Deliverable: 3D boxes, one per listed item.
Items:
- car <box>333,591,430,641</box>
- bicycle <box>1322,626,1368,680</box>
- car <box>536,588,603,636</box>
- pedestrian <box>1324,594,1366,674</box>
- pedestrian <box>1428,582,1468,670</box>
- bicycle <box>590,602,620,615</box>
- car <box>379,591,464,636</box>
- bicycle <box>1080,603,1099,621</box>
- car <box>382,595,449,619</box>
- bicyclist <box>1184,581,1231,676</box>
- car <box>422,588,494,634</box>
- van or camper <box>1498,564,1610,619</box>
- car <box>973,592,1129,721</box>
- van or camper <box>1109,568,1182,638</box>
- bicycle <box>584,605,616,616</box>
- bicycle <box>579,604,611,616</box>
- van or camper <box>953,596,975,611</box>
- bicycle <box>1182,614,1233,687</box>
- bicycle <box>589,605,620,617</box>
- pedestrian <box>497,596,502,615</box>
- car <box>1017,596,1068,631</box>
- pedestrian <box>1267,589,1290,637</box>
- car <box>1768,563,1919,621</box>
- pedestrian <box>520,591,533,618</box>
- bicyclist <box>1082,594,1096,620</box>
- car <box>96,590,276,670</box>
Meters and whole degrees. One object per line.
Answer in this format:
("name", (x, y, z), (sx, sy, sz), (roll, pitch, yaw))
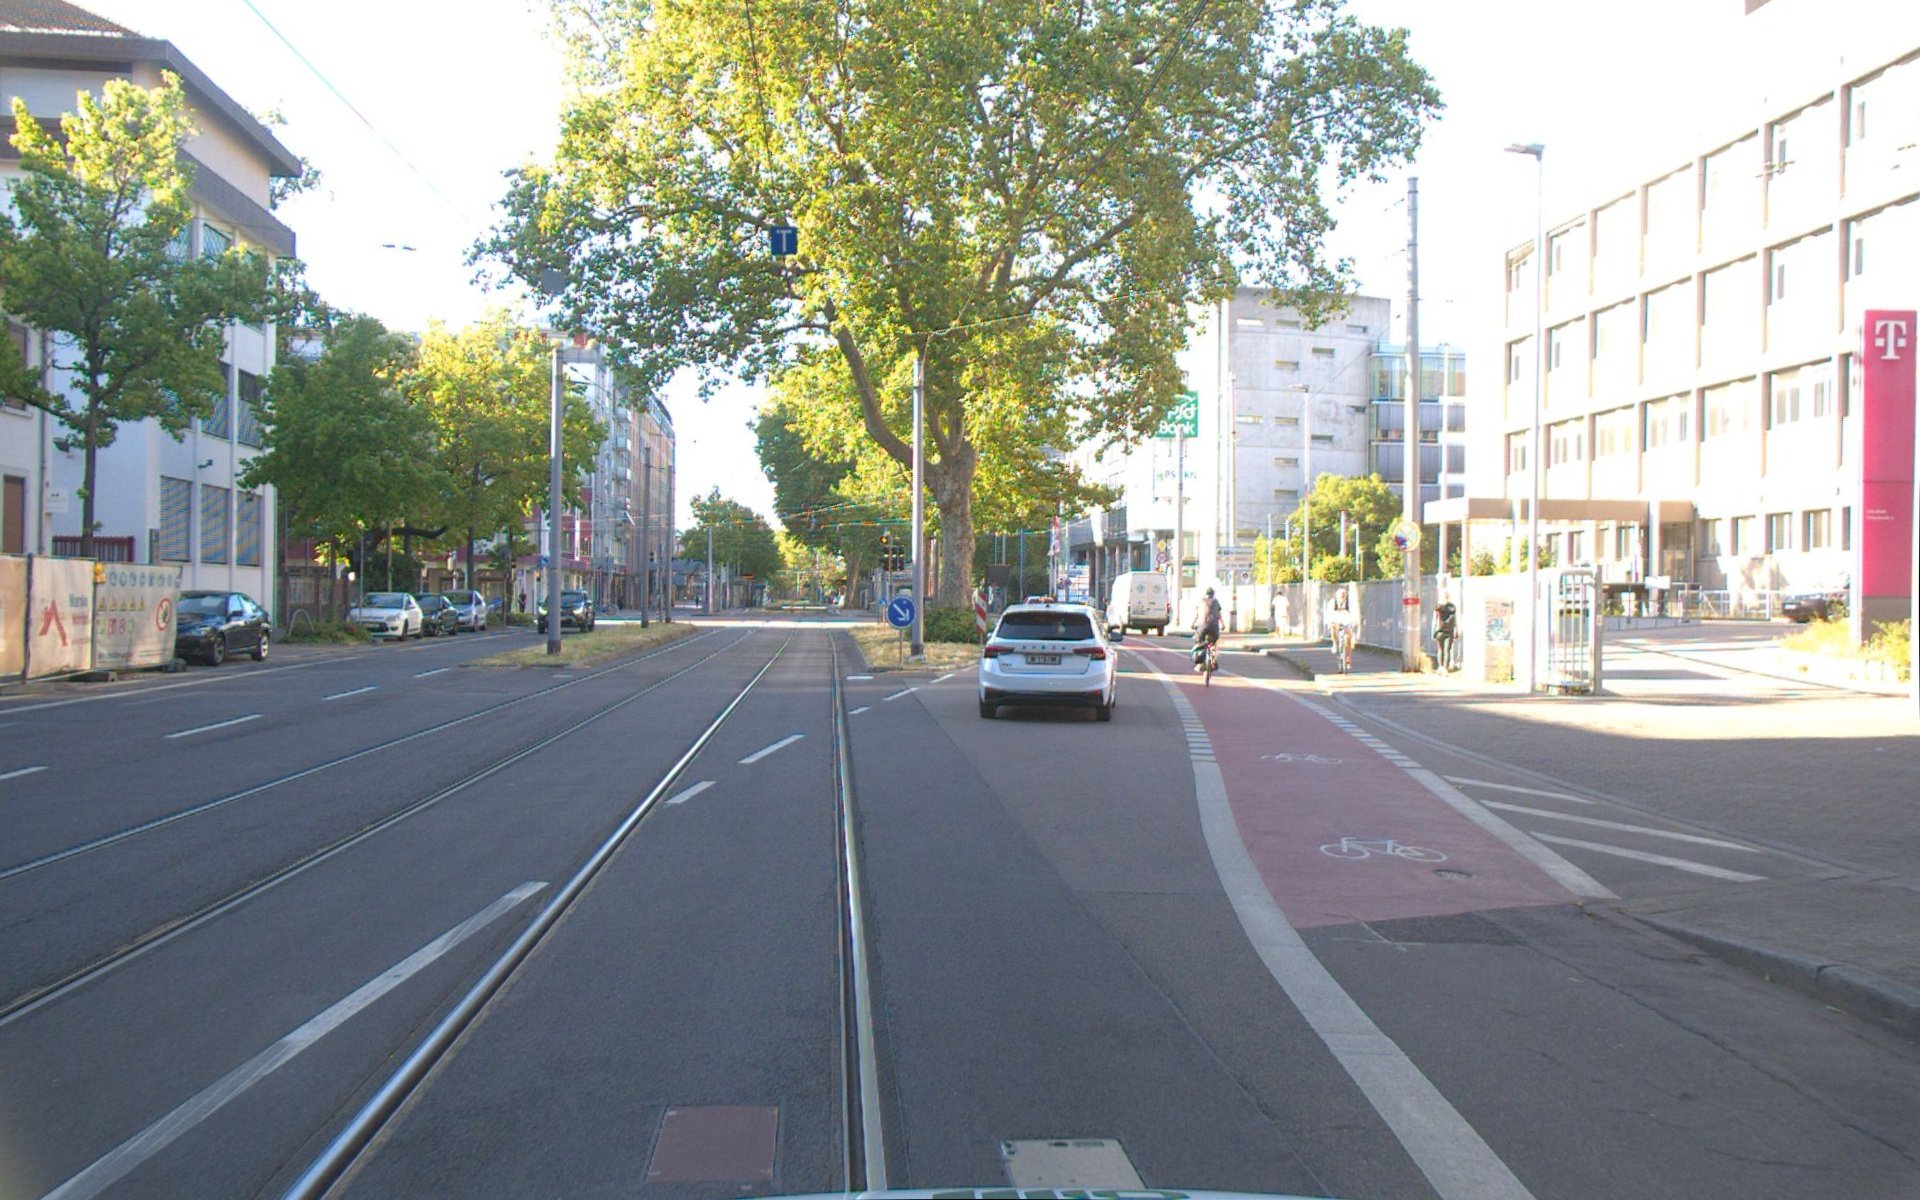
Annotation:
("car", (-17.936, 0.473, 51.469), (1.956, 1.496, 4.399), (0, 0, -7))
("bicycle", (8.078, 1.102, 34.785), (0.660, 1.050, 1.902), (-2, 0, 5))
("car", (-14.654, 0.438, 62.261), (1.956, 1.719, 4.303), (0, 0, -7))
("pedestrian", (8.116, 0.702, 34.905), (0.655, 1.647, 1.103), (-2, 0, 4))
("pedestrian", (9.682, 0.511, 32.835), (0.681, 1.713, 0.931), (0, 0, 11))
("bicycle", (-25.605, 0.624, 119.333), (2.129, 0.967, 0.491), (0, 0, -9))
("car", (-18.602, 0.438, 57.321), (1.956, 1.502, 4.642), (0, 0, -7))
("bicycle", (8.461, 0.777, 107.989), (0.777, 1.182, 2.496), (0, 0, -7))
("car", (-34.269, 0.428, 104.249), (3.923, 1.489, 1.793), (0, 0, -17))
("bicyclist", (4.546, 0.517, 30.394), (0.727, 1.698, 0.745), (2, 0, 3))
("car", (-19.423, 0.402, 64.177), (1.956, 1.719, 4.171), (0, 0, -7))
("van or camper", (21.894, -0.314, 61.203), (1.942, 1.942, 4.994), (0, 0, -6))
("car", (1.309, 0.686, 22.117), (1.763, 1.527, 3.984), (1, 0, 7))
("van or camper", (7.935, 0.107, 71.444), (2.223, 2.781, 6.345), (3, 0, -1))
("bicycle", (-25.527, 0.755, 117.332), (2.129, 0.801, 0.491), (0, 0, -9))
("bicycle", (-25.712, 0.699, 116.552), (2.129, 0.801, 0.640), (0, 0, -8))
("van or camper", (0.495, 0.439, 198.826), (2.105, 1.781, 4.424), (0, 0, -8))
("bicycle", (4.538, 0.901, 30.454), (0.728, 1.245, 2.157), (2, 0, 4))
("bicycle", (-25.507, 0.784, 118.695), (2.129, 0.838, 0.527), (0, 0, -9))
("pedestrian", (-29.640, 0.360, 106.485), (0.298, 1.235, 0.318), (0, 0, -10))
("car", (3.650, 0.565, 73.439), (1.803, 1.515, 3.713), (0, 0, -5))
("pedestrian", (11.785, 0.481, 61.247), (0.769, 1.779, 0.772), (0, 0, 5))
("car", (27.683, -0.230, 51.472), (4.169, 1.748, 1.991), (0, 0, -6))
("pedestrian", (-27.563, 0.260, 105.185), (0.695, 1.691, 1.031), (0, 0, -9))
("bicyclist", (8.452, 0.448, 108.152), (0.770, 1.663, 0.638), (0, 0, -8))
("car", (-15.960, 0.574, 34.386), (1.955, 1.540, 4.719), (0, 0, -6))
